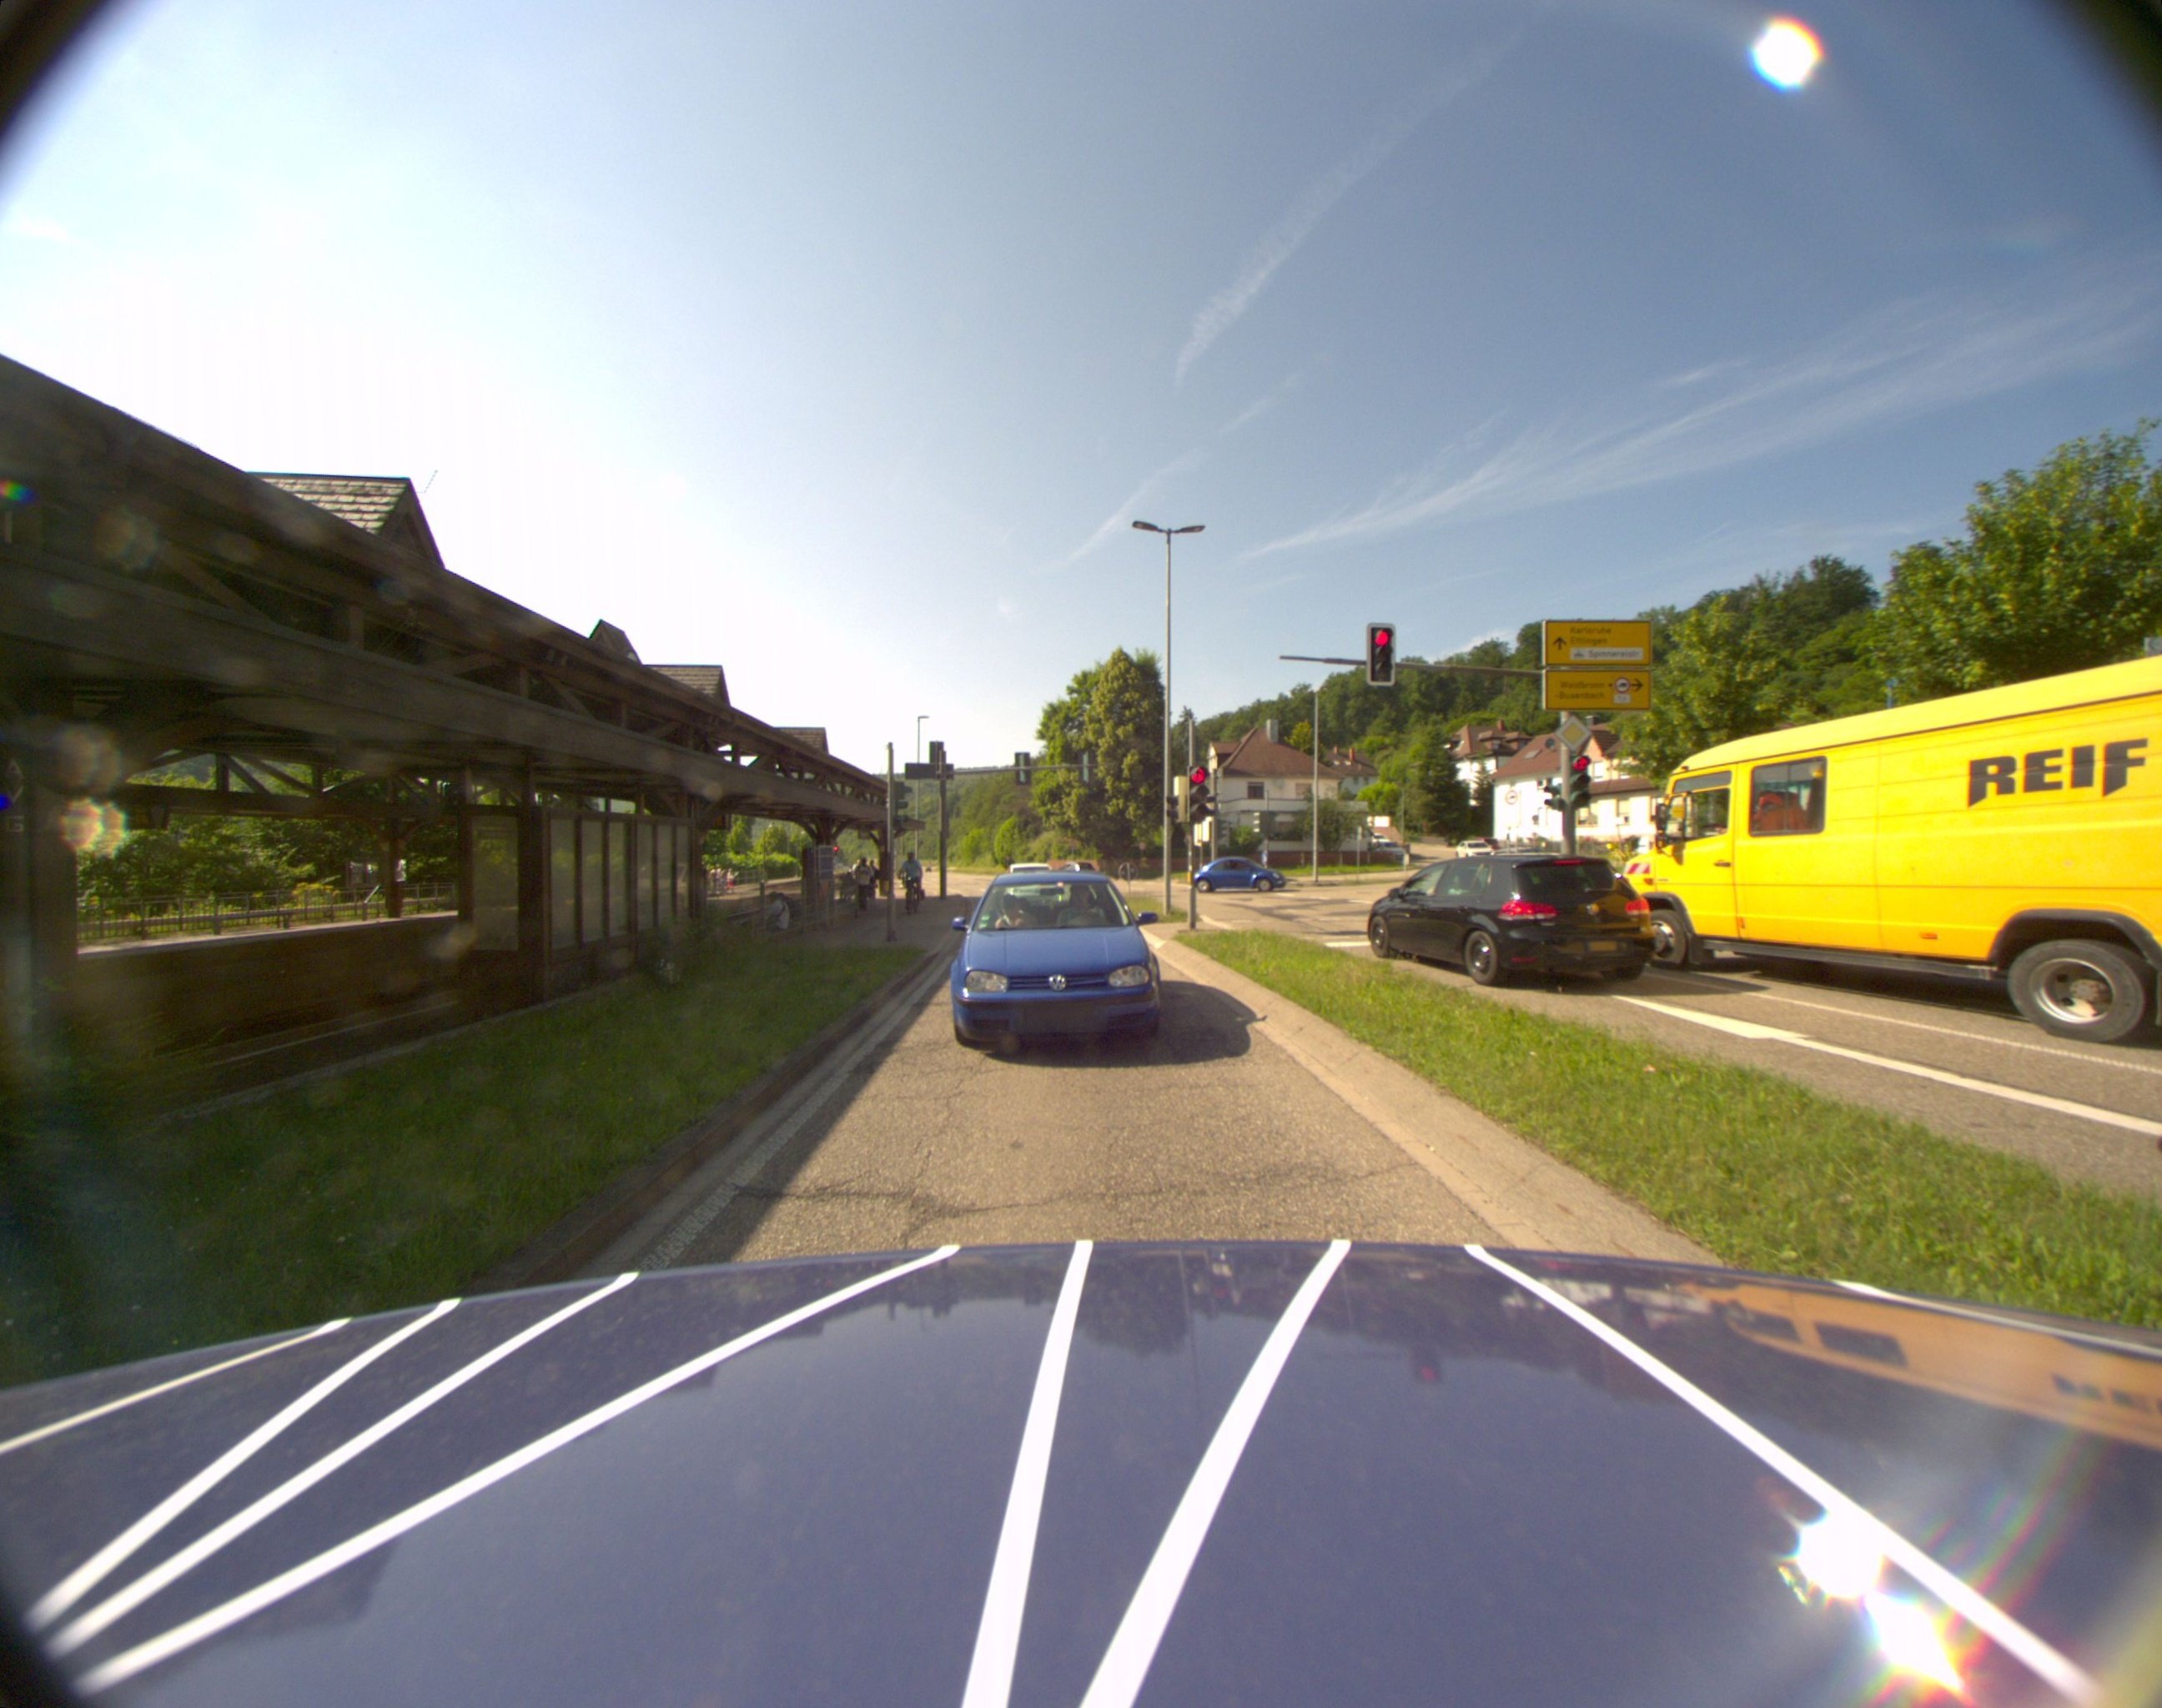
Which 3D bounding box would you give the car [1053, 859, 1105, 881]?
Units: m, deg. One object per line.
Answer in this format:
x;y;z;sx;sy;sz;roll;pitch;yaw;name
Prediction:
-0.199;1.197;56.329;1.983;1.475;4.742;-2;-1;-25;car

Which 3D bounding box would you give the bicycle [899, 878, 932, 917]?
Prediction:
-5.024;1.294;23.140;0.603;1.049;1.813;-3;0;-2;bicycle

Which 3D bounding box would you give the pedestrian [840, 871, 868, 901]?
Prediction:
-9.084;1.271;30.445;1.010;1.153;0.947;-2;1;-13;pedestrian

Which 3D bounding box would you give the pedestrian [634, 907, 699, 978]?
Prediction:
-7.121;1.501;13.080;0.744;1.110;0.667;-3;-1;-7;pedestrian

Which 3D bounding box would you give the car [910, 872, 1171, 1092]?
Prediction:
-0.343;0.973;7.655;1.865;1.474;4.301;-1;0;-2;car

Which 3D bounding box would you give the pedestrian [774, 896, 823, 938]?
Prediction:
-6.386;1.414;17.211;0.847;0.869;0.807;-3;-1;-7;pedestrian

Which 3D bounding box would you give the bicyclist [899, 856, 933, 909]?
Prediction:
-4.993;0.848;23.052;0.787;1.559;0.947;-3;1;-2;bicyclist

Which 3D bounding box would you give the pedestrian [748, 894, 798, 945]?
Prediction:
-6.426;1.364;15.896;0.744;0.976;0.769;-3;-1;-7;pedestrian

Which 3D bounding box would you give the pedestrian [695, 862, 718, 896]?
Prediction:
-21.290;1.423;43.239;0.904;1.838;0.822;-3;-1;-11;pedestrian

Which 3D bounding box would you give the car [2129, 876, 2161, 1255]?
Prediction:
5.170;0.789;0.700;1.796;1.462;4.715;-2;0;-3;car

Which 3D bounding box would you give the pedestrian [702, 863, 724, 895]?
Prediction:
-21.655;1.469;44.698;0.904;1.838;0.822;-3;-1;-11;pedestrian

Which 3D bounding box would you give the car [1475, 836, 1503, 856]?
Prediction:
33.893;-0.629;63.241;1.658;1.525;3.961;-2;-1;23;car

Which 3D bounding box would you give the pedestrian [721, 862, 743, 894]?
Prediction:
-20.776;1.432;45.237;0.904;1.838;0.822;-3;-1;-11;pedestrian

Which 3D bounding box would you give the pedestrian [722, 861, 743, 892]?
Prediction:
-21.271;1.391;46.449;0.904;1.838;0.822;-3;-1;-11;pedestrian

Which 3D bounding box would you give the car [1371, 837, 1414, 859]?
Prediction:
25.822;-0.496;63.138;1.939;1.627;4.001;-3;-1;2;car

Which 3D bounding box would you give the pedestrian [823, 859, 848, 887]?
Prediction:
-15.434;1.172;47.780;0.901;1.674;1.127;-4;-1;44;pedestrian

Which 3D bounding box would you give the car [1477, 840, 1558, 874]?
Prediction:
21.831;0.142;37.900;4.760;1.495;1.976;-2;-1;-40;car

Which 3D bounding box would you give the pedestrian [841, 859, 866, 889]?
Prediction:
-13.986;1.226;46.700;0.988;1.831;1.075;-2;-1;19;pedestrian

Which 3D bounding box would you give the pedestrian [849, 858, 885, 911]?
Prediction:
-7.401;1.037;26.325;0.916;1.726;1.251;-3;-1;-6;pedestrian

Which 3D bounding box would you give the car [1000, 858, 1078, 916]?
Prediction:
-1.425;0.978;23.957;2.000;1.575;3.997;-3;0;-9;car

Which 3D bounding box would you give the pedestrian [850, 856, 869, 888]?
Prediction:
-12.325;1.003;42.211;0.823;1.674;0.902;-3;-1;-24;pedestrian

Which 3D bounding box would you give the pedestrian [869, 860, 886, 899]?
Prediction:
-8.888;1.089;33.137;0.659;1.682;0.738;-1;0;-13;pedestrian

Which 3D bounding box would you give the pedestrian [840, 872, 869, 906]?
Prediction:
-8.713;1.341;29.263;0.994;1.228;0.596;-3;-1;-14;pedestrian

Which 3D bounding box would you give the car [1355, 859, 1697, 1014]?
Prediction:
5.102;0.820;9.471;1.750;1.454;4.042;-1;0;-3;car

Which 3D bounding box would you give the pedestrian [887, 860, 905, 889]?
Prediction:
-11.089;1.211;45.493;0.823;1.674;0.902;-3;-1;-24;pedestrian

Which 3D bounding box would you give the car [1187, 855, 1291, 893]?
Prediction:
6.734;0.836;32.323;3.977;1.495;1.984;-1;0;22;car

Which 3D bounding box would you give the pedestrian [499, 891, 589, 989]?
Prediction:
-8.940;1.401;12.697;0.863;1.538;0.922;-1;-1;-5;pedestrian

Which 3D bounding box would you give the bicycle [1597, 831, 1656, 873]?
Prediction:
18.293;-0.042;25.514;0.620;1.247;1.758;-6;-2;2;bicycle

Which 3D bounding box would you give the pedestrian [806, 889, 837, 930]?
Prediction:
-6.462;1.370;18.915;0.619;0.960;0.406;-3;-1;-7;pedestrian

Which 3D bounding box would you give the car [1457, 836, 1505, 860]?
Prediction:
28.882;-0.390;55.012;1.997;1.597;4.004;-3;-1;12;car

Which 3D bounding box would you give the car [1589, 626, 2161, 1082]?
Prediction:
8.225;-0.043;6.962;2.474;2.993;6.464;-3;0;-3;car
